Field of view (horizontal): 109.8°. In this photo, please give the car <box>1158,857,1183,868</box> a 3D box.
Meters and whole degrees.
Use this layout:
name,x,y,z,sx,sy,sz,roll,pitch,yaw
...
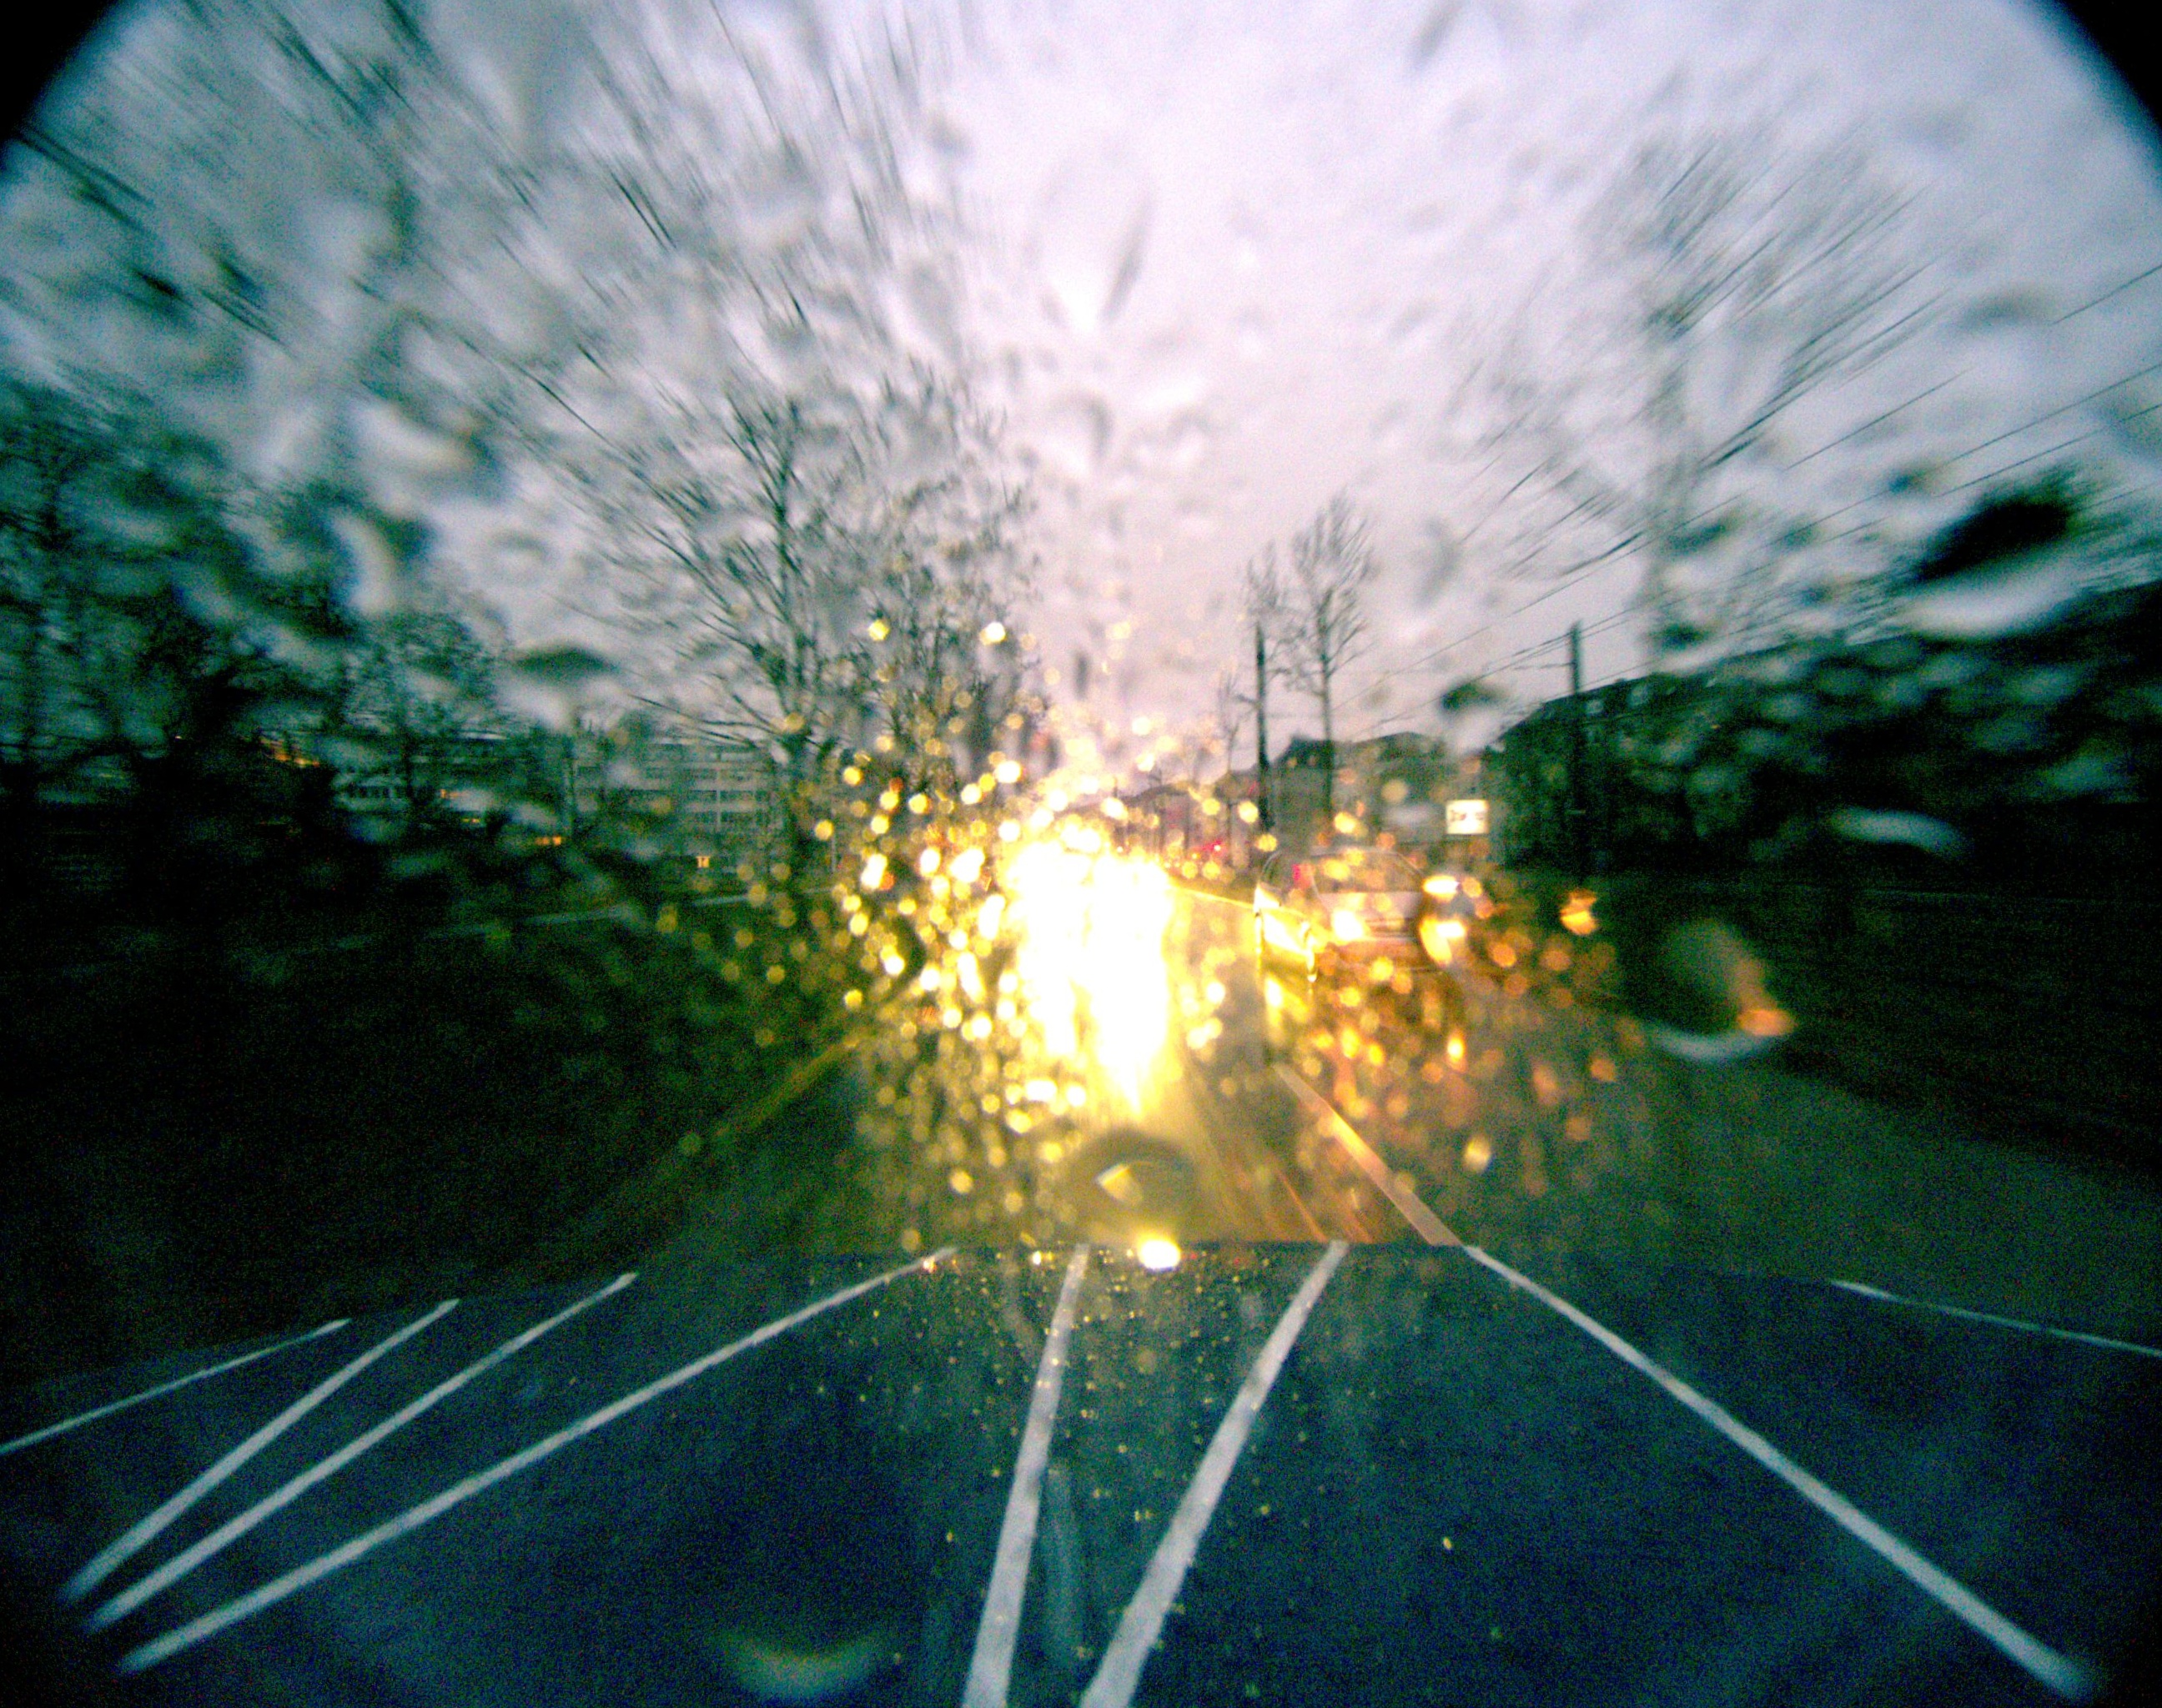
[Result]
name,x,y,z,sx,sy,sz,roll,pitch,yaw
car,11.202,1.057,95.530,1.898,1.347,4.285,-1,0,-10

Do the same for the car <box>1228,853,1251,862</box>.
name,x,y,z,sx,sy,sz,roll,pitch,yaw
car,29.204,0.628,140.018,3.901,1.467,1.776,-1,0,-12

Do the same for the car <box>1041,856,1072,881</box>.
name,x,y,z,sx,sy,sz,roll,pitch,yaw
car,-1.720,0.971,52.521,1.950,1.546,4.216,-3,0,-2

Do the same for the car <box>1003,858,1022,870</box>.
name,x,y,z,sx,sy,sz,roll,pitch,yaw
car,-9.535,1.422,105.629,1.951,1.546,4.212,-3,0,-14

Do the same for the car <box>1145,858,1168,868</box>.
name,x,y,z,sx,sy,sz,roll,pitch,yaw
car,10.079,1.171,101.588,1.898,1.347,4.286,-1,0,-9

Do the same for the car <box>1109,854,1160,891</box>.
name,x,y,z,sx,sy,sz,roll,pitch,yaw
car,2.434,0.839,35.670,1.924,1.546,4.216,-3,0,-2

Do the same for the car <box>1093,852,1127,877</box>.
name,x,y,z,sx,sy,sz,roll,pitch,yaw
car,1.892,0.677,50.618,1.845,1.546,4.216,-3,0,-3

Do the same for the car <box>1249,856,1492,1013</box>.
name,x,y,z,sx,sy,sz,roll,pitch,yaw
car,3.382,0.832,9.715,1.669,1.566,3.923,-1,0,1

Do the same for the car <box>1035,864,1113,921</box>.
name,x,y,z,sx,sy,sz,roll,pitch,yaw
car,-0.202,0.971,20.841,1.897,1.347,4.289,-1,0,-1

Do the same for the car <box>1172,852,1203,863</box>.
name,x,y,z,sx,sy,sz,roll,pitch,yaw
car,18.258,0.650,130.479,4.678,1.846,2.324,-1,0,-19
